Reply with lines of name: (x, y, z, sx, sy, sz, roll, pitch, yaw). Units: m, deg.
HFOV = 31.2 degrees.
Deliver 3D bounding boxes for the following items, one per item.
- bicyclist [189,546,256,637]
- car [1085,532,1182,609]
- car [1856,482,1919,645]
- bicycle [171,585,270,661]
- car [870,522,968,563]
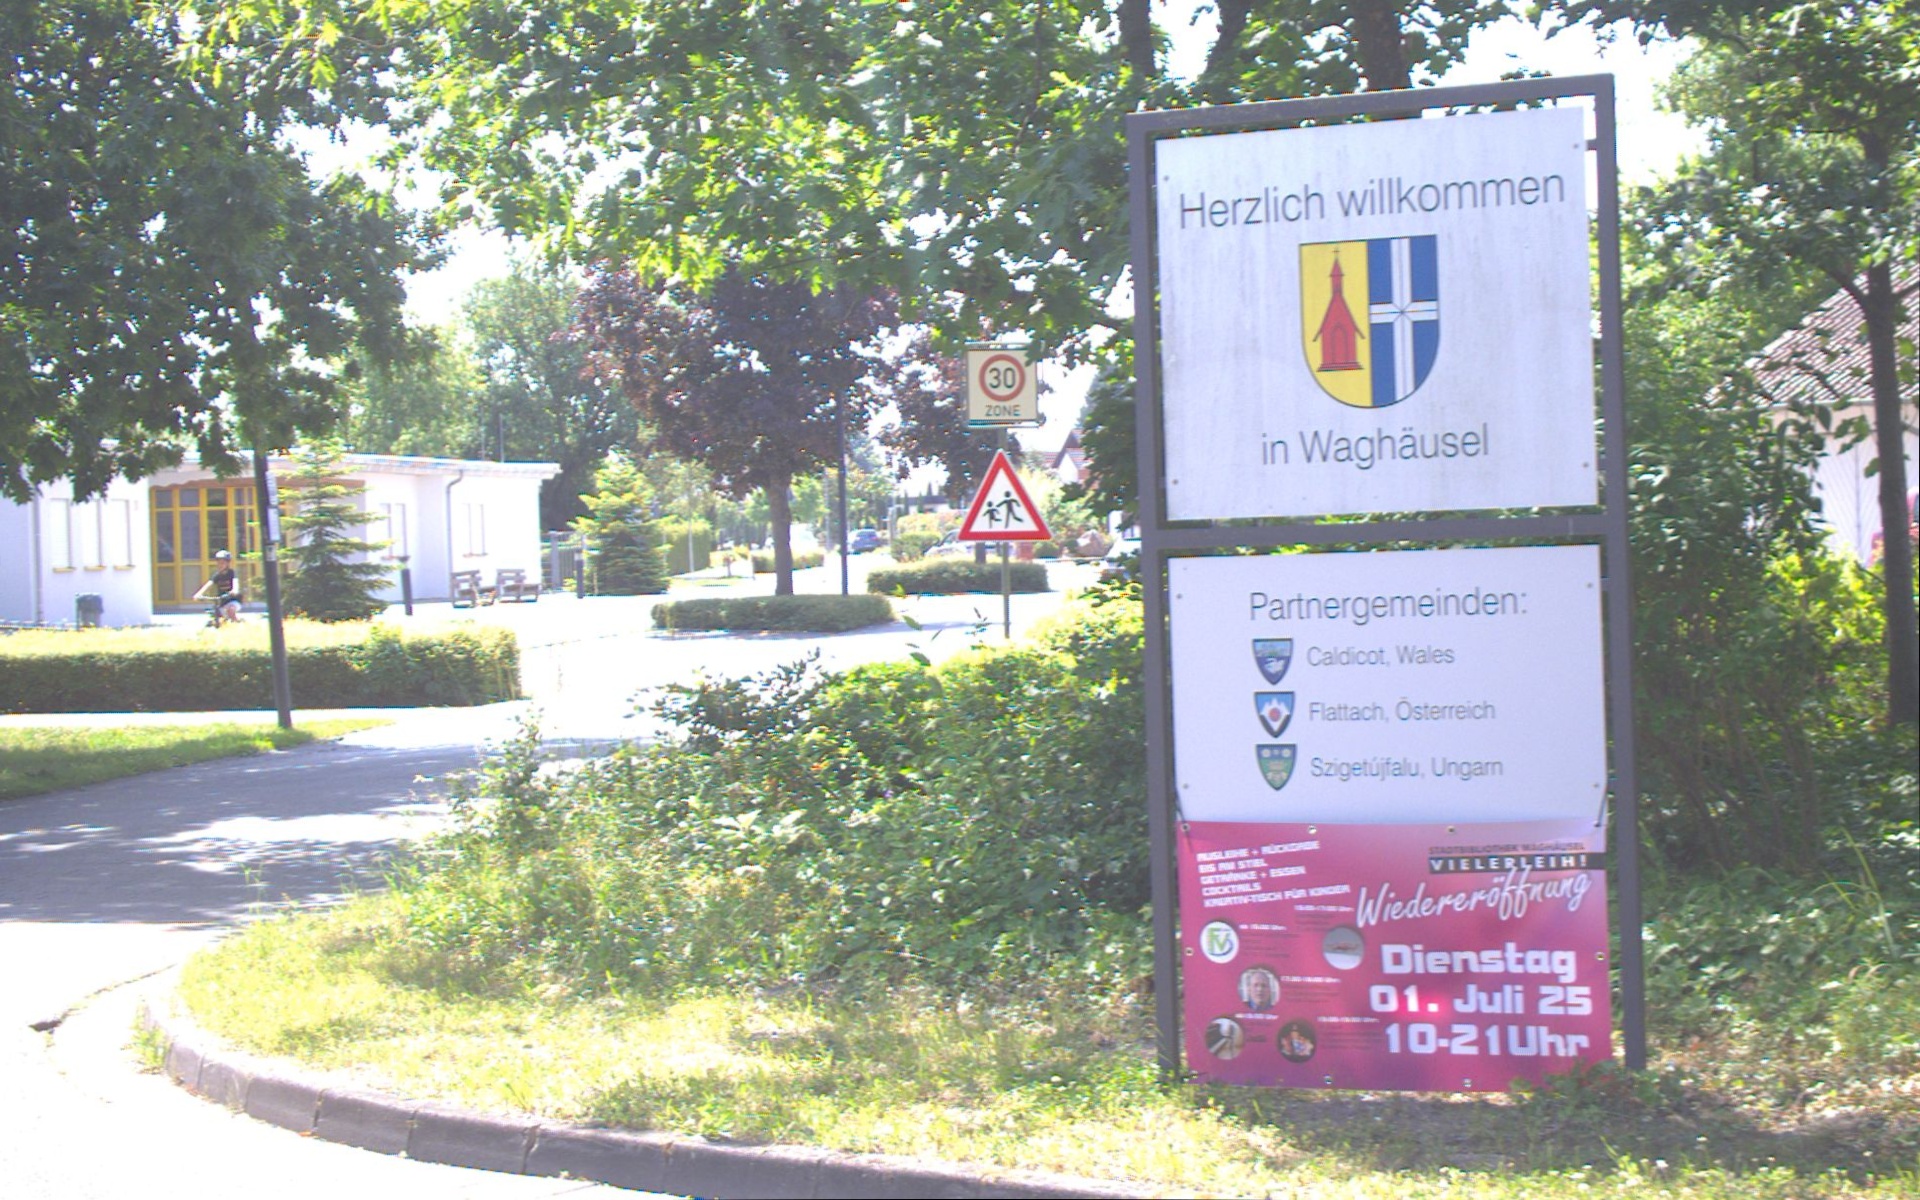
bicyclist: (-9.637, -0.117, 44.939, 0.597, 1.160, 0.648, -2, 1, 13)
car: (3.124, -0.549, 61.390, 1.614, 1.284, 3.556, -2, 1, 4)
car: (10.534, -0.377, 33.106, 1.660, 1.596, 4.028, -2, 1, -20)
bicycle: (-9.637, 0.290, 44.874, 0.597, 0.925, 1.619, -2, 1, 13)
car: (-1.388, -1.907, 114.696, 1.993, 1.284, 4.001, -2, 1, -21)
